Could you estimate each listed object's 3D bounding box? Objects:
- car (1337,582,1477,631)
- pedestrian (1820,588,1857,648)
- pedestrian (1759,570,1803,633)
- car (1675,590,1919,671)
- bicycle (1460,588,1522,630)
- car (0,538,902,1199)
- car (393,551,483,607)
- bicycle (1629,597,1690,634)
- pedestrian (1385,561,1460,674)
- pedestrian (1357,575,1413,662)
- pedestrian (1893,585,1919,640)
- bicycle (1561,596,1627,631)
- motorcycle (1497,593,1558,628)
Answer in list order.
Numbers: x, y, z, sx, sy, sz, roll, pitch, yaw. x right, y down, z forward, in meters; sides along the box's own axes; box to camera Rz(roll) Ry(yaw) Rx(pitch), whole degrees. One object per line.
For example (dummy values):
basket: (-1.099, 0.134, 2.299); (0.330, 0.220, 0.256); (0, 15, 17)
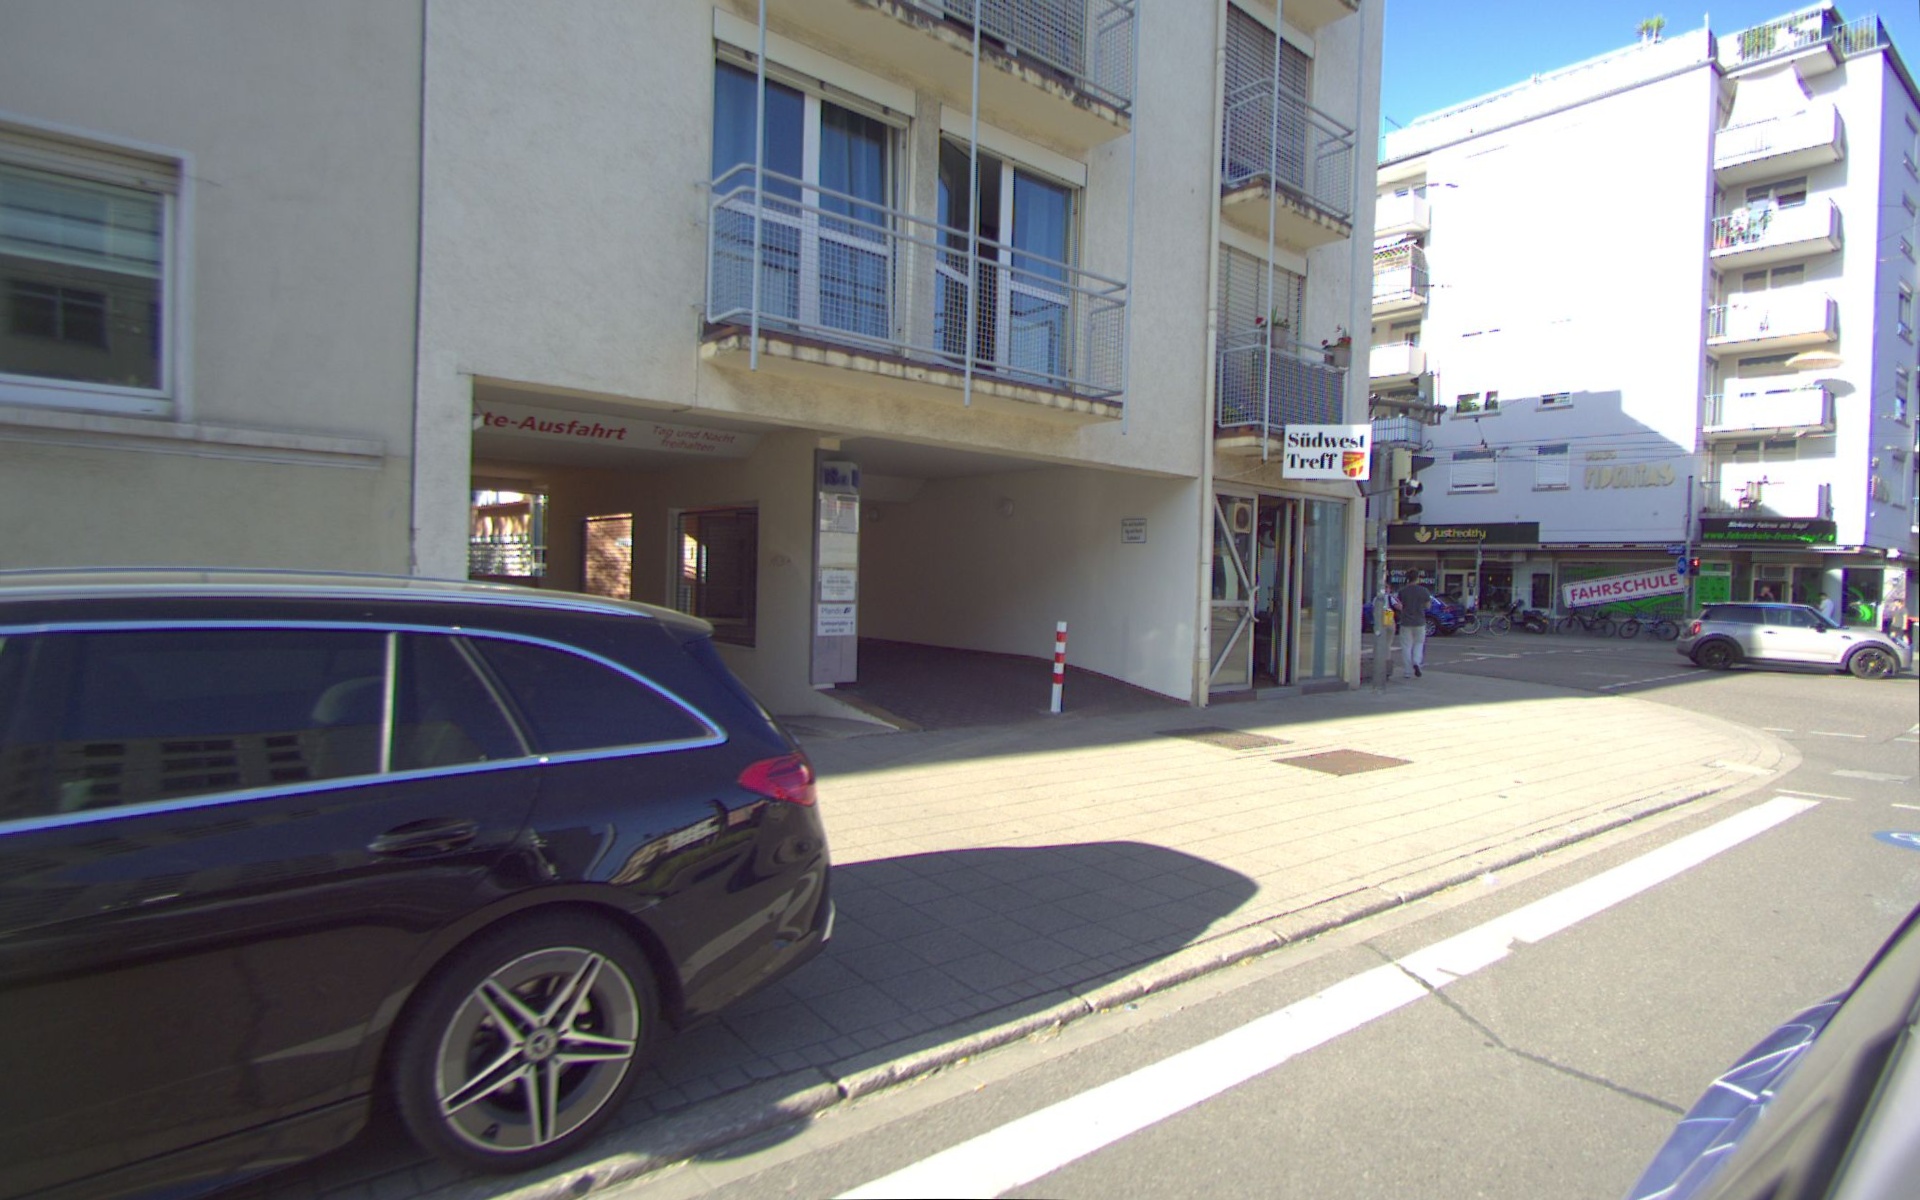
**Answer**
car: (15.755, 0.187, 35.827); (1.745, 1.522, 4.231); (-3, 3, -41)
pedestrian: (27.309, 0.543, 31.473); (0.723, 1.815, 0.662); (1, 1, -33)
pedestrian: (25.673, 0.043, 31.653); (0.563, 1.922, 0.741); (1, 4, -22)
car: (17.321, 0.575, 21.032); (3.783, 1.442, 1.712); (2, 2, 29)
bicycle: (18.264, 0.283, 34.834); (0.598, 1.330, 1.795); (-2, 4, -40)
car: (-2.606, 0.590, 2.392); (4.655, 1.414, 1.890); (0, 5, -38)
car: (-14.827, -0.638, 28.691); (1.615, 1.427, 3.645); (-2, 4, -38)
bicycle: (23.235, 0.493, 33.625); (0.543, 1.119, 1.538); (-2, 4, -37)
pedestrian: (7.593, 0.254, 16.668); (0.675, 1.763, 1.042); (3, 2, 2)
pedestrian: (8.447, 0.357, 20.148); (0.529, 1.643, 0.735); (6, 1, -15)
pedestrian: (30.375, 0.413, 32.233); (0.746, 1.671, 0.701); (3, 3, -38)
bicycle: (21.864, 0.452, 34.936); (0.598, 1.101, 1.795); (-2, 4, -40)
motorcycle: (20.313, 0.355, 36.252); (0.598, 1.148, 1.795); (-2, 4, -40)
